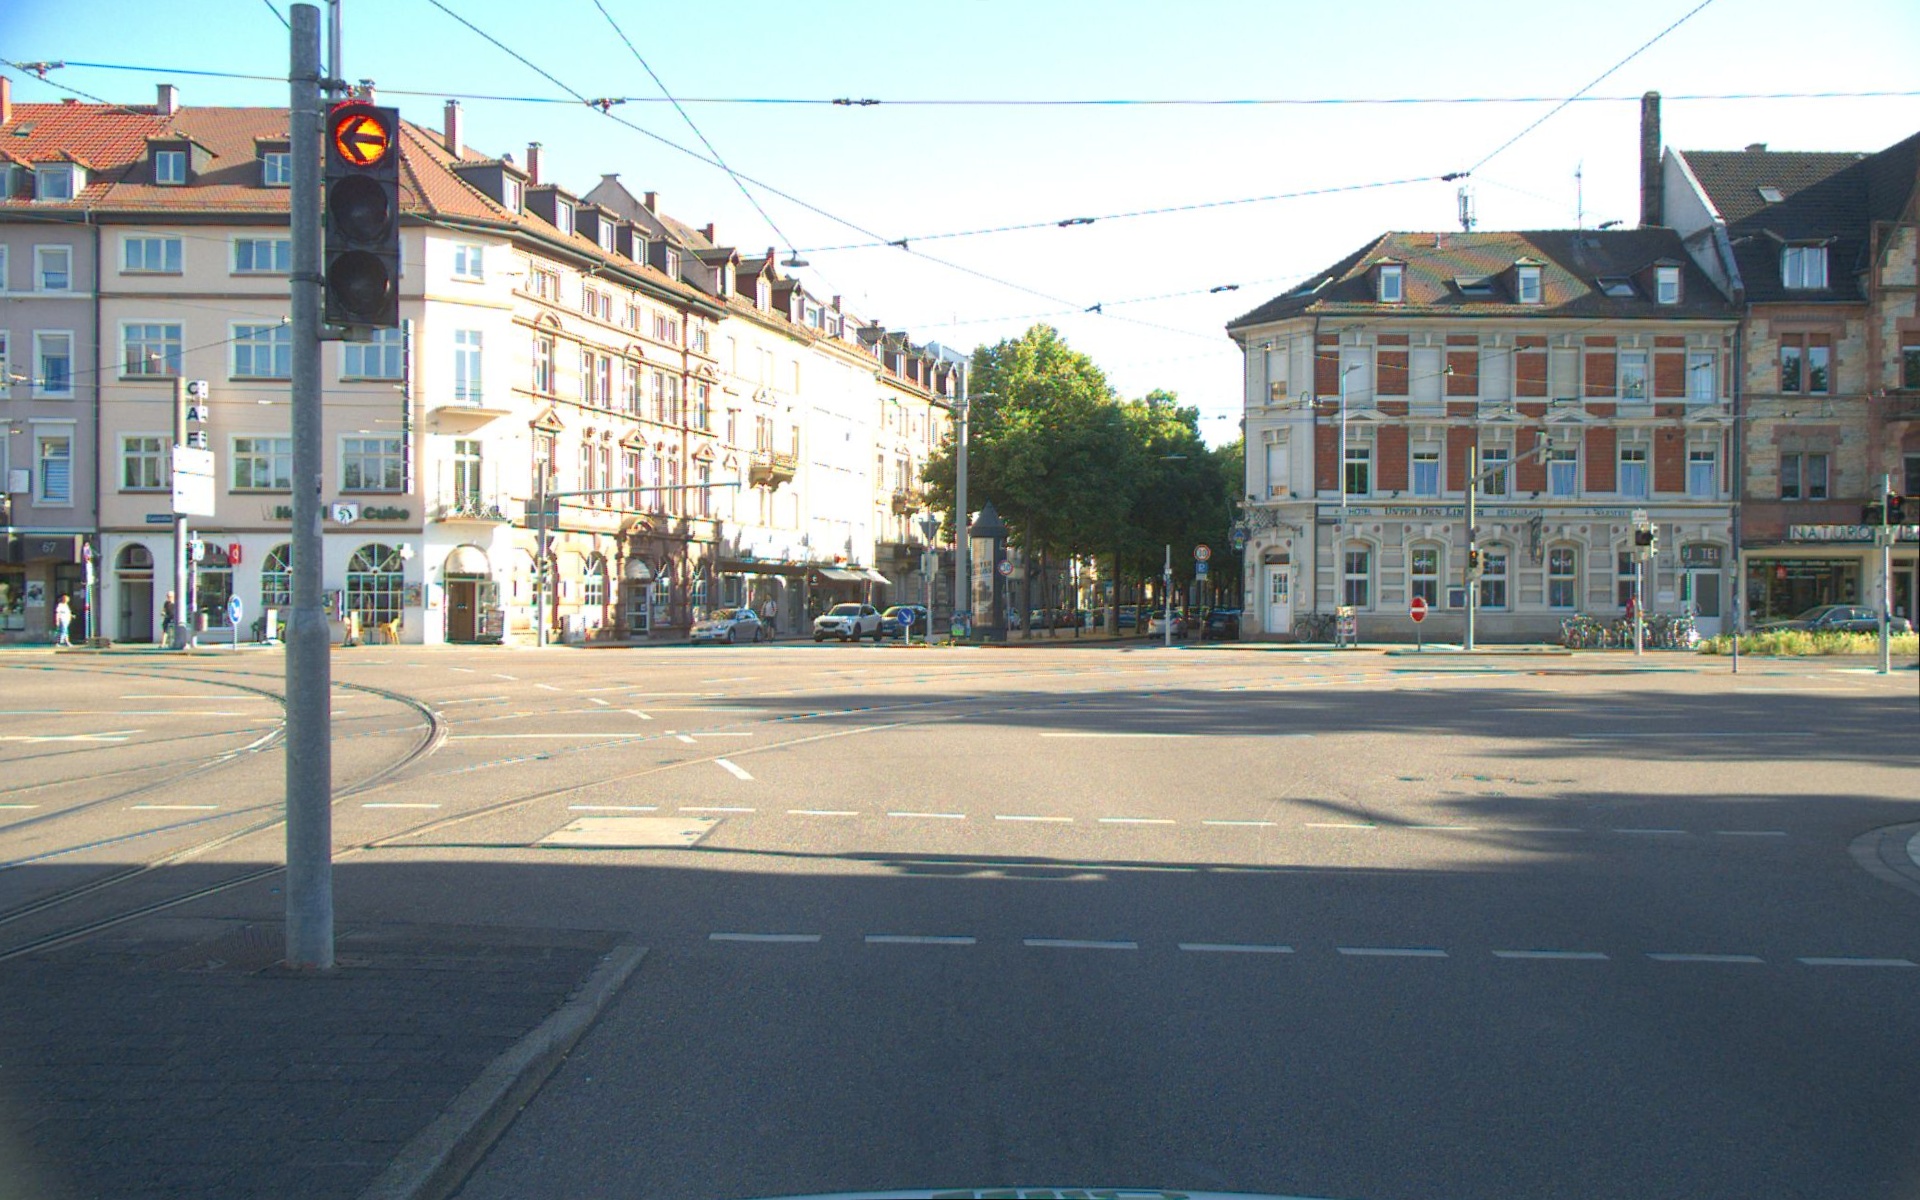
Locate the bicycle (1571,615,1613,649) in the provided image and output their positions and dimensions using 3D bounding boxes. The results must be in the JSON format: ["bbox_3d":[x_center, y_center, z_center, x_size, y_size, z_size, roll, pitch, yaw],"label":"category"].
[{"bbox_3d":[20.461,1.036,53.572,0.593,1.069,1.641,0,0,-6],"label":"bicycle"}]

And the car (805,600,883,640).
[{"bbox_3d":[-4.656,0.788,67.083,2.052,1.525,4.003,0,0,13],"label":"car"}]

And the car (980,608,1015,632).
[{"bbox_3d":[2.521,1.311,110.020,1.704,1.422,4.127,3,0,9],"label":"car"}]

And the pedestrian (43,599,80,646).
[{"bbox_3d":[-30.127,0.736,55.467,0.774,1.553,0.859,0,0,0],"label":"pedestrian"}]

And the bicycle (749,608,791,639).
[{"bbox_3d":[-7.547,0.929,65.932,0.734,1.155,2.812,0,0,14],"label":"bicycle"}]

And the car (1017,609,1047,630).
[{"bbox_3d":[5.329,1.416,122.844,1.704,1.422,4.127,3,0,9],"label":"car"}]

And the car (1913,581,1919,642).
[{"bbox_3d":[28.955,0.326,45.460,4.418,1.701,1.999,0,0,-2],"label":"car"}]

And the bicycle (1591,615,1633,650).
[{"bbox_3d":[21.113,1.047,53.597,0.593,1.069,1.641,0,0,-6],"label":"bicycle"}]

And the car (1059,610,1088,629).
[{"bbox_3d":[9.416,1.578,136.506,1.704,1.422,4.127,3,0,13],"label":"car"}]

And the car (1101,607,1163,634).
[{"bbox_3d":[11.999,1.405,115.388,4.024,1.675,1.748,3,0,15],"label":"car"}]

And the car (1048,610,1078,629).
[{"bbox_3d":[8.238,1.541,131.710,1.704,1.422,4.127,3,0,13],"label":"car"}]

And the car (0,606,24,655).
[{"bbox_3d":[-32.067,0.993,52.158,3.910,1.489,1.998,-1,1,-6],"label":"car"}]

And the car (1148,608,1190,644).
[{"bbox_3d":[10.750,1.302,84.963,1.638,1.787,3.761,0,0,15],"label":"car"}]

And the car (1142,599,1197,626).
[{"bbox_3d":[16.952,1.017,133.668,4.026,1.952,1.746,3,0,21],"label":"car"}]

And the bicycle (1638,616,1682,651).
[{"bbox_3d":[22.600,1.072,53.406,0.593,1.069,1.641,0,0,-6],"label":"bicycle"}]

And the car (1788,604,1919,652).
[{"bbox_3d":[27.111,0.816,48.784,4.420,1.364,1.999,0,0,-3],"label":"car"}]

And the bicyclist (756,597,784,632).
[{"bbox_3d":[-7.544,0.577,65.799,0.776,1.399,1.109,0,0,14],"label":"bicyclist"}]

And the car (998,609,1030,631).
[{"bbox_3d":[3.799,1.359,115.844,1.704,1.422,4.127,3,0,9],"label":"car"}]

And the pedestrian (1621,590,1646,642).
[{"bbox_3d":[23.133,0.553,56.802,0.694,1.782,0.421,0,0,0],"label":"pedestrian"}]

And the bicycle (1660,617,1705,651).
[{"bbox_3d":[23.326,1.085,53.427,0.593,1.069,1.641,0,0,-6],"label":"bicycle"}]

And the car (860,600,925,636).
[{"bbox_3d":[-2.964,0.796,73.476,1.951,1.540,4.004,0,0,11],"label":"car"}]

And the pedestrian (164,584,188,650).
[{"bbox_3d":[-24.671,0.534,52.038,0.498,2.049,0.505,0,0,2],"label":"pedestrian"}]

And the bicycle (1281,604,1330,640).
[{"bbox_3d":[11.971,0.763,57.306,1.603,1.243,0.607,0,0,16],"label":"bicycle"}]

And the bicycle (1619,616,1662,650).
[{"bbox_3d":[21.939,1.060,53.330,0.593,1.069,1.641,0,0,-6],"label":"bicycle"}]

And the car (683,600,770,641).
[{"bbox_3d":[-9.455,0.810,67.224,2.052,1.572,4.367,0,0,13],"label":"car"}]

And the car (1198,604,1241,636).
[{"bbox_3d":[12.970,1.003,82.469,1.616,1.551,3.755,0,-1,17],"label":"car"}]

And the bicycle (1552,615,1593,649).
[{"bbox_3d":[19.821,1.024,53.516,0.593,1.069,1.641,0,0,-6],"label":"bicycle"}]
